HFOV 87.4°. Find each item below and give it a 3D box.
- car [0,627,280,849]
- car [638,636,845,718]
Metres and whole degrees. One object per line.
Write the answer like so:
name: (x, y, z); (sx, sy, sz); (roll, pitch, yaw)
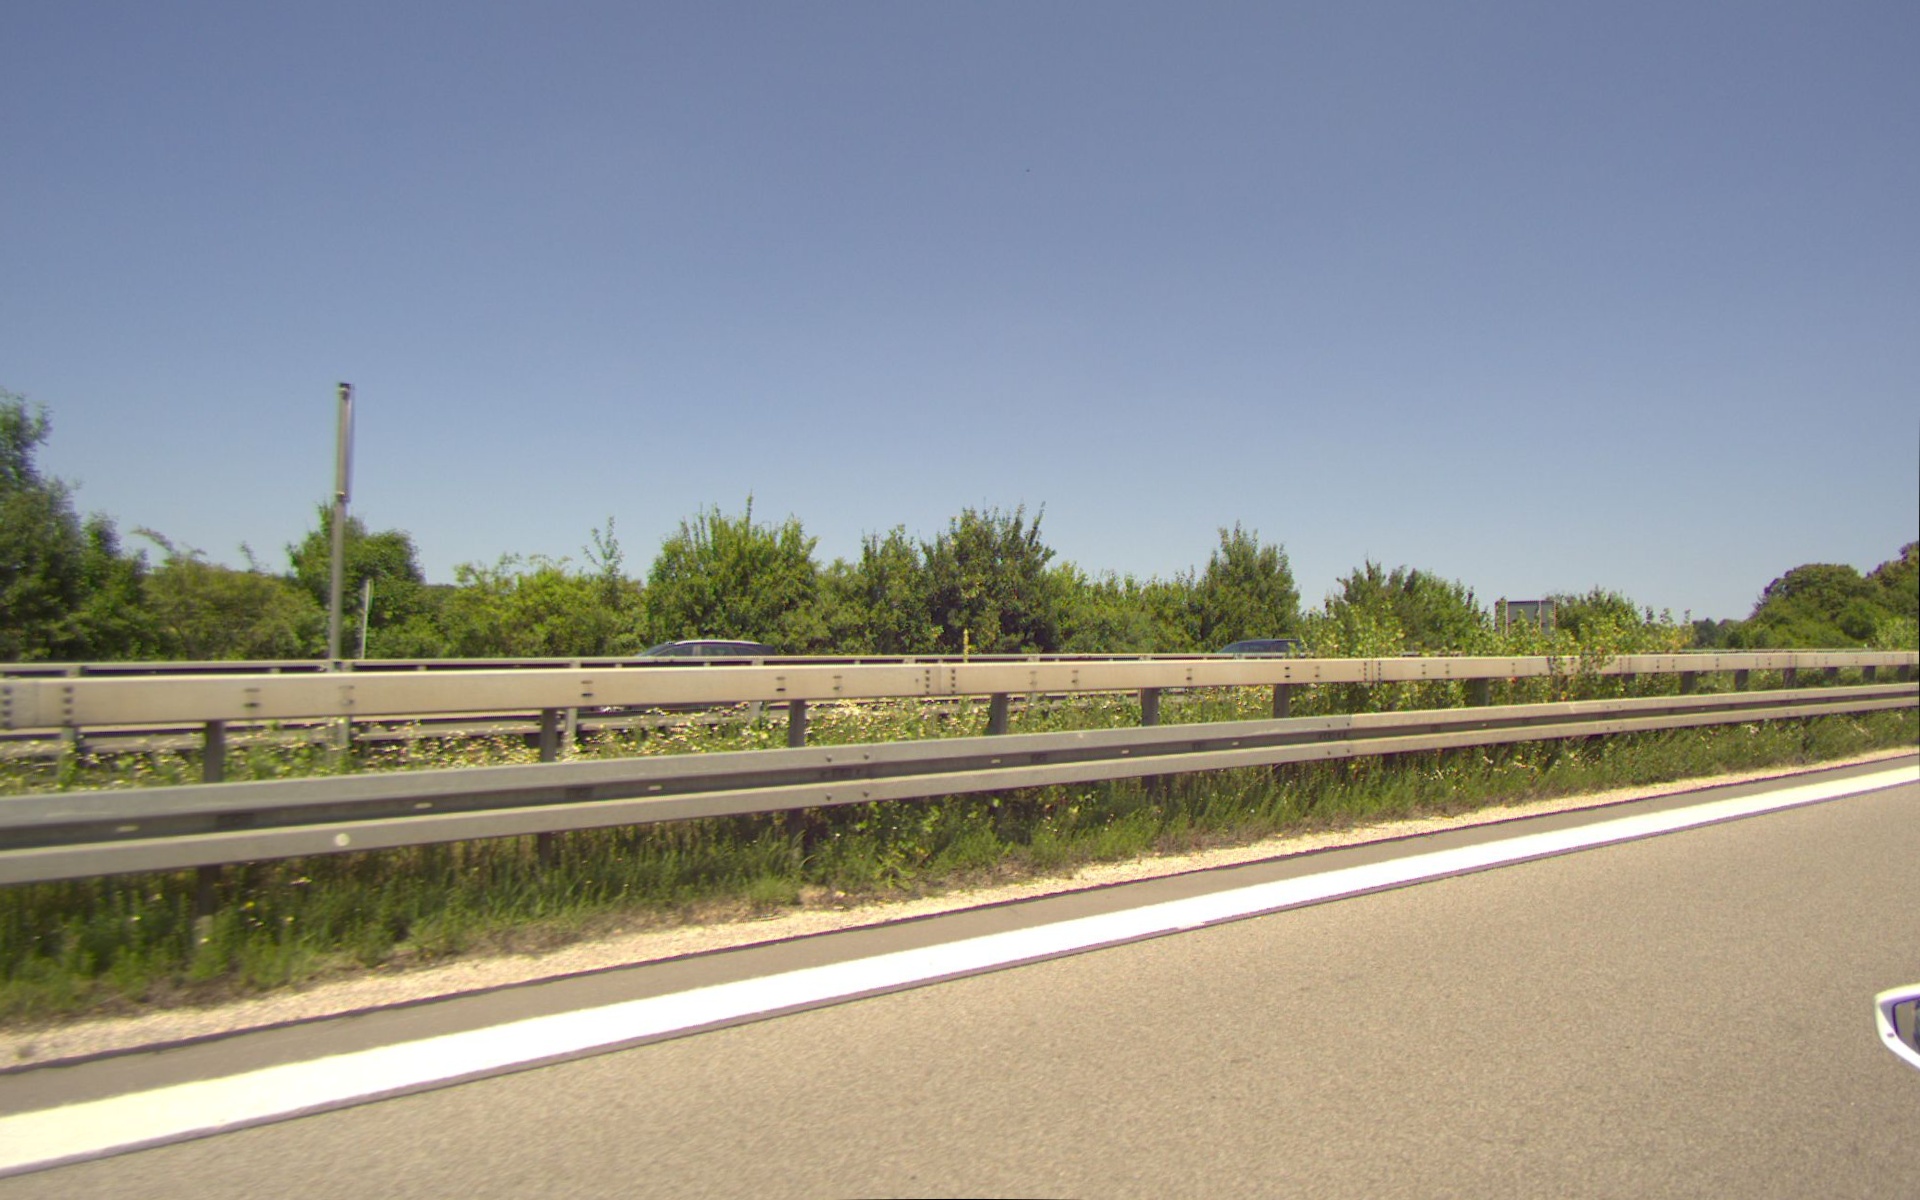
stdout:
car: (-7.498, 1.013, 7.857); (3.444, 1.550, 1.629); (2, -1, -30)
car: (-4.349, 1.496, 20.077); (3.669, 1.437, 1.733); (2, -1, -30)
